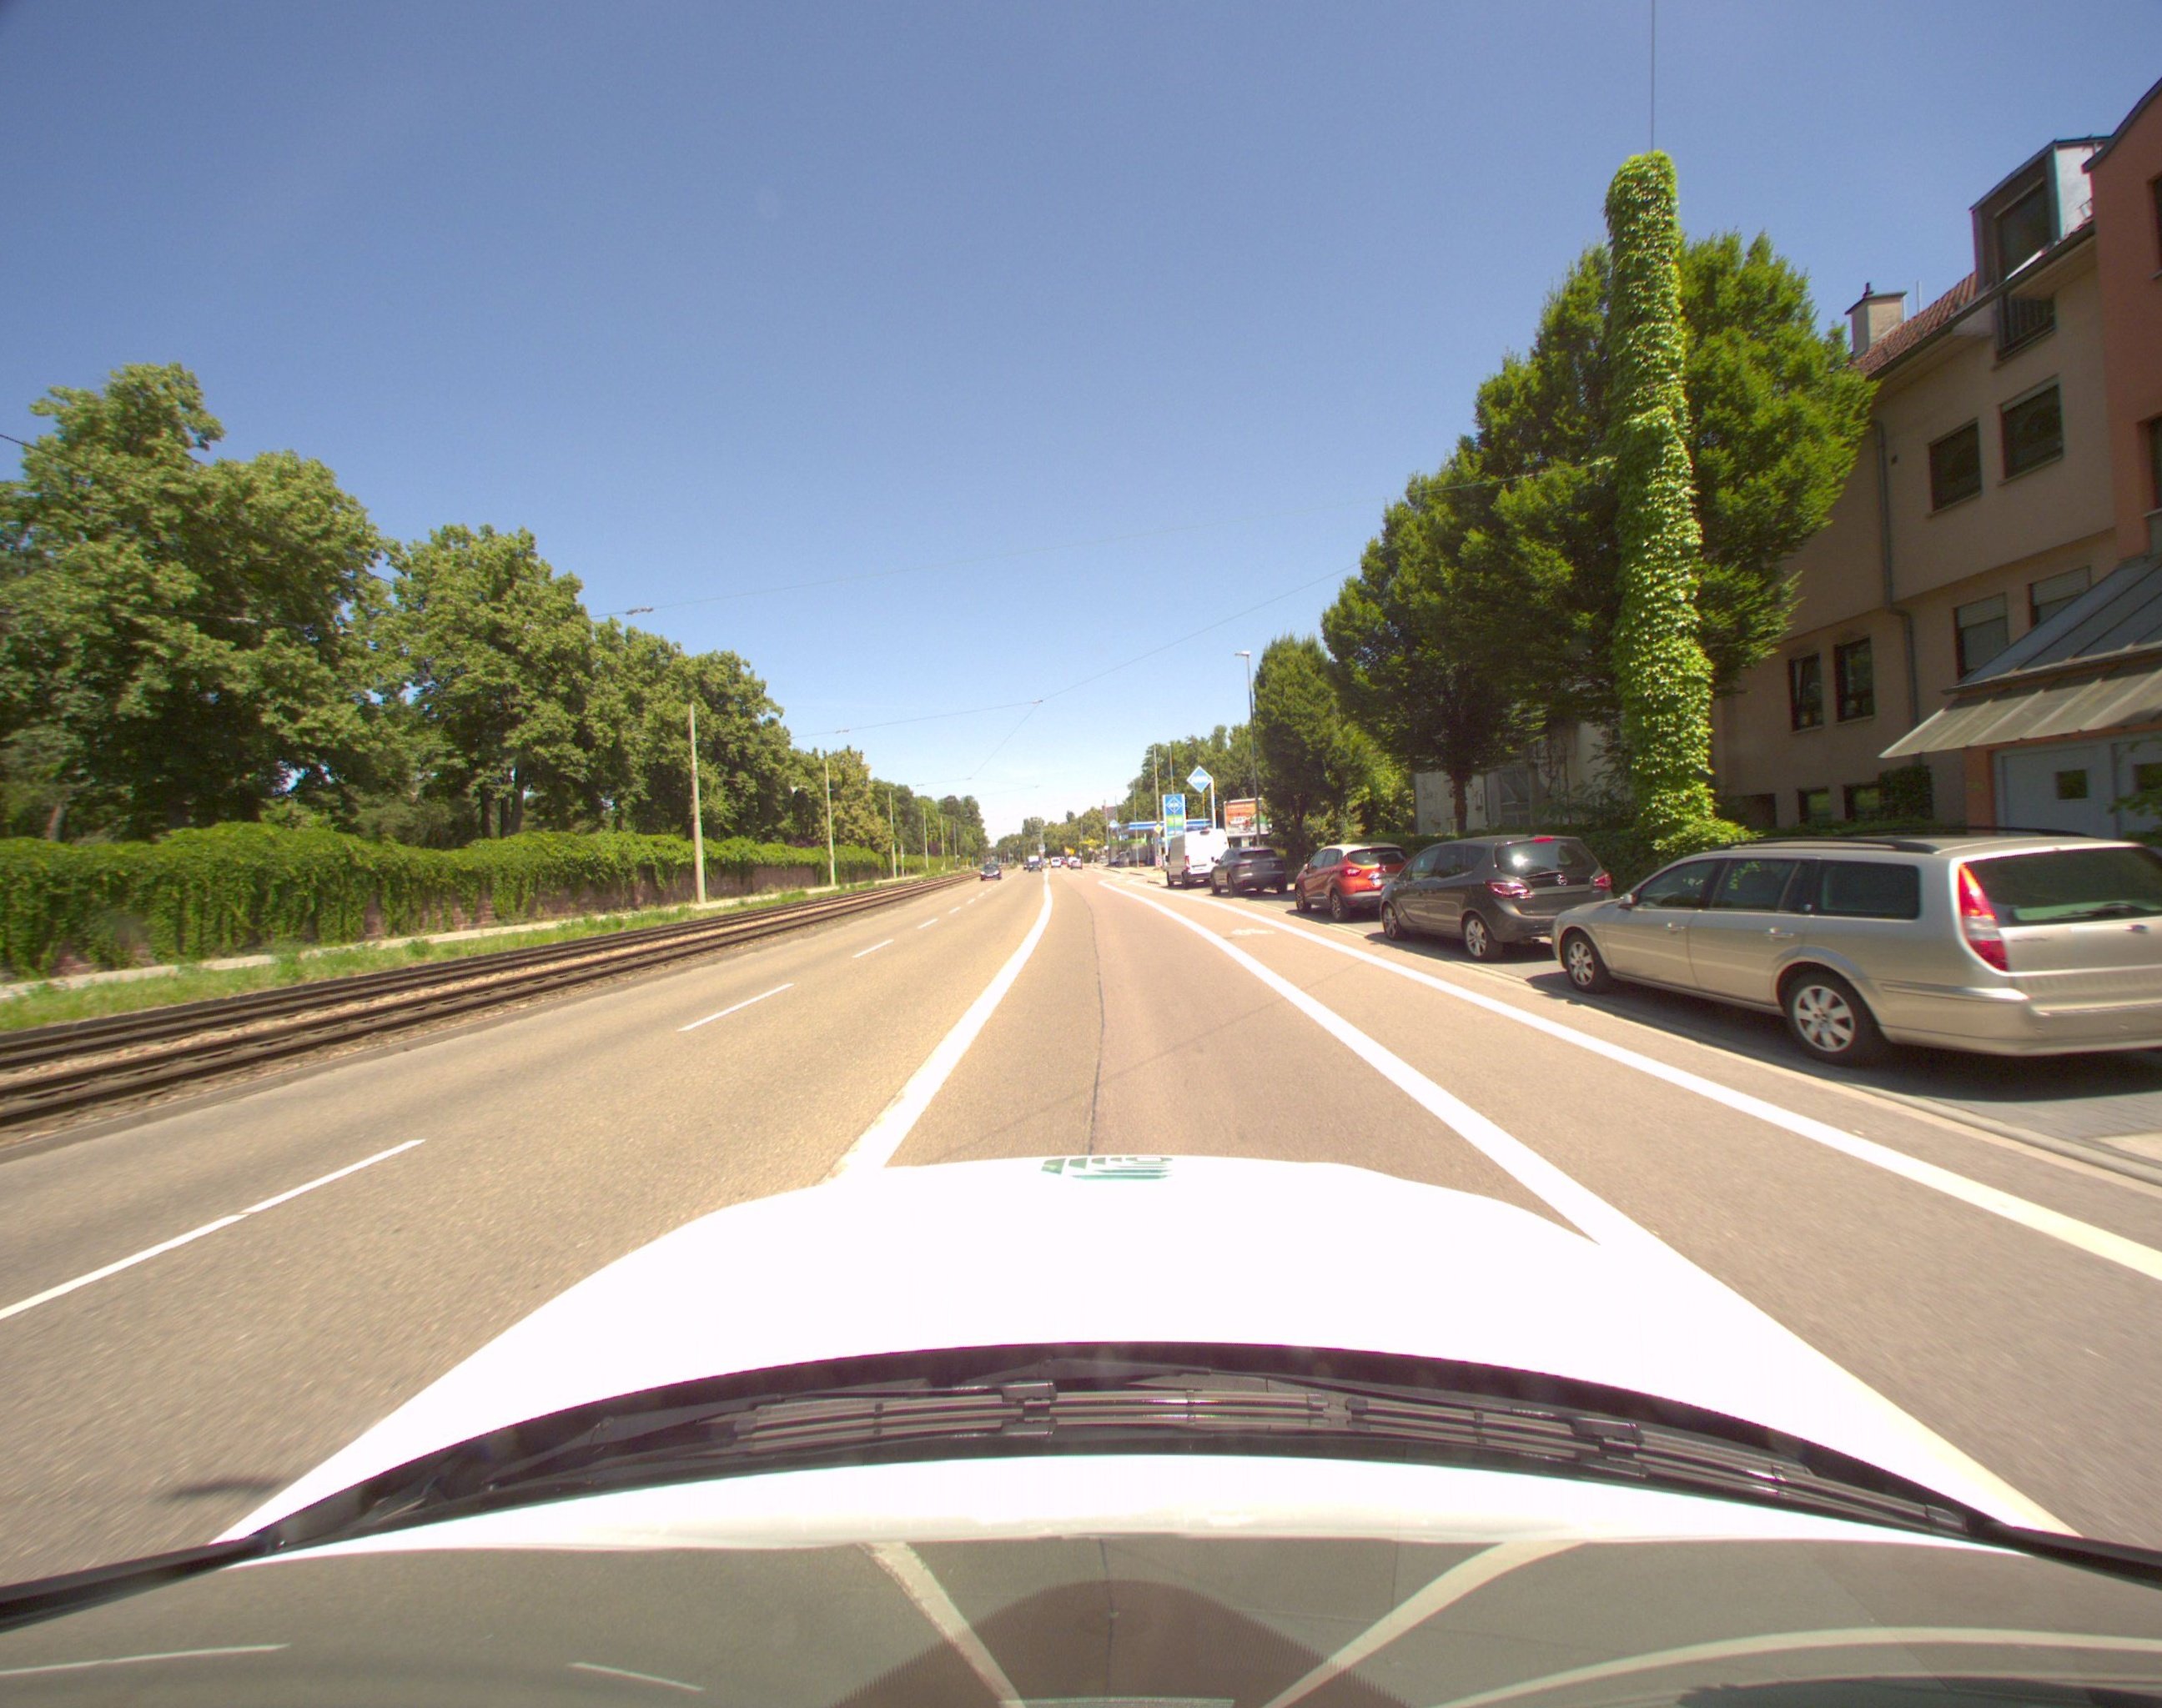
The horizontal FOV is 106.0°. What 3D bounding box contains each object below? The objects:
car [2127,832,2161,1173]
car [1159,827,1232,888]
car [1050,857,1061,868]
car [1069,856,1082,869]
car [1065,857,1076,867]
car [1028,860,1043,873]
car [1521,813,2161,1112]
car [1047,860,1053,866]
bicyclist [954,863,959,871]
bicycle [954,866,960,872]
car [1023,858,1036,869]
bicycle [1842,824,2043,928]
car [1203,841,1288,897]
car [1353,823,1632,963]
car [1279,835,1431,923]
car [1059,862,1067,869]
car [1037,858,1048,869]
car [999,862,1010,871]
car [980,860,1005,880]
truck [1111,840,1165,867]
[{"bbox_3d":[5.438,0.586,1.057,1.700,1.492,5.041,-5,0,2],"label":"car"},{"bbox_3d":[5.286,0.171,38.421,1.997,2.456,6.100,-5,0,-4],"label":"car"},{"bbox_3d":[-4.625,1.487,148.122,1.752,1.874,4.319,-5,0,-3],"label":"car"},{"bbox_3d":[-0.831,1.261,122.210,1.752,1.630,4.319,-5,0,-3],"label":"car"},{"bbox_3d":[-1.895,1.456,149.252,1.752,1.630,4.319,-5,0,-3],"label":"car"},{"bbox_3d":[-6.042,1.636,108.372,1.752,1.630,4.319,-5,0,-3],"label":"car"},{"bbox_3d":[5.813,0.576,6.786,1.701,1.492,4.732,-5,0,1],"label":"car"},{"bbox_3d":[-9.555,2.776,253.453,1.752,1.630,4.319,-5,0,-3],"label":"car"},{"bbox_3d":[-24.957,2.613,163.625,0.679,1.574,0.795,-8,-1,-1],"label":"bicyclist"},{"bbox_3d":[-24.912,2.962,163.610,0.679,1.054,2.008,-8,-1,-1],"label":"bicycle"},{"bbox_3d":[-8.494,1.590,134.577,1.755,1.630,4.311,-5,0,-8],"label":"car"},{"bbox_3d":[10.309,0.264,9.787,1.636,1.140,0.516,-3,0,10],"label":"bicycle"},{"bbox_3d":[5.594,0.496,28.211,1.752,1.630,4.319,-5,0,-3],"label":"car"},{"bbox_3d":[5.807,0.486,12.200,1.703,1.562,4.319,-5,0,-3],"label":"car"},{"bbox_3d":[5.916,0.494,18.143,1.702,1.562,4.321,-5,0,-2],"label":"car"},{"bbox_3d":[-4.683,2.991,212.398,1.752,1.630,4.319,-5,0,-3],"label":"car"},{"bbox_3d":[-6.874,1.699,145.776,1.751,1.630,4.321,-5,0,-1],"label":"car"},{"bbox_3d":[-15.038,2.429,160.254,1.755,1.630,4.311,-5,0,-8],"label":"car"},{"bbox_3d":[-7.727,1.396,71.330,1.752,1.509,4.319,-5,0,-3],"label":"car"},{"bbox_3d":[8.569,-0.033,122.564,7.935,3.602,2.665,-3,0,3],"label":"truck"}]
